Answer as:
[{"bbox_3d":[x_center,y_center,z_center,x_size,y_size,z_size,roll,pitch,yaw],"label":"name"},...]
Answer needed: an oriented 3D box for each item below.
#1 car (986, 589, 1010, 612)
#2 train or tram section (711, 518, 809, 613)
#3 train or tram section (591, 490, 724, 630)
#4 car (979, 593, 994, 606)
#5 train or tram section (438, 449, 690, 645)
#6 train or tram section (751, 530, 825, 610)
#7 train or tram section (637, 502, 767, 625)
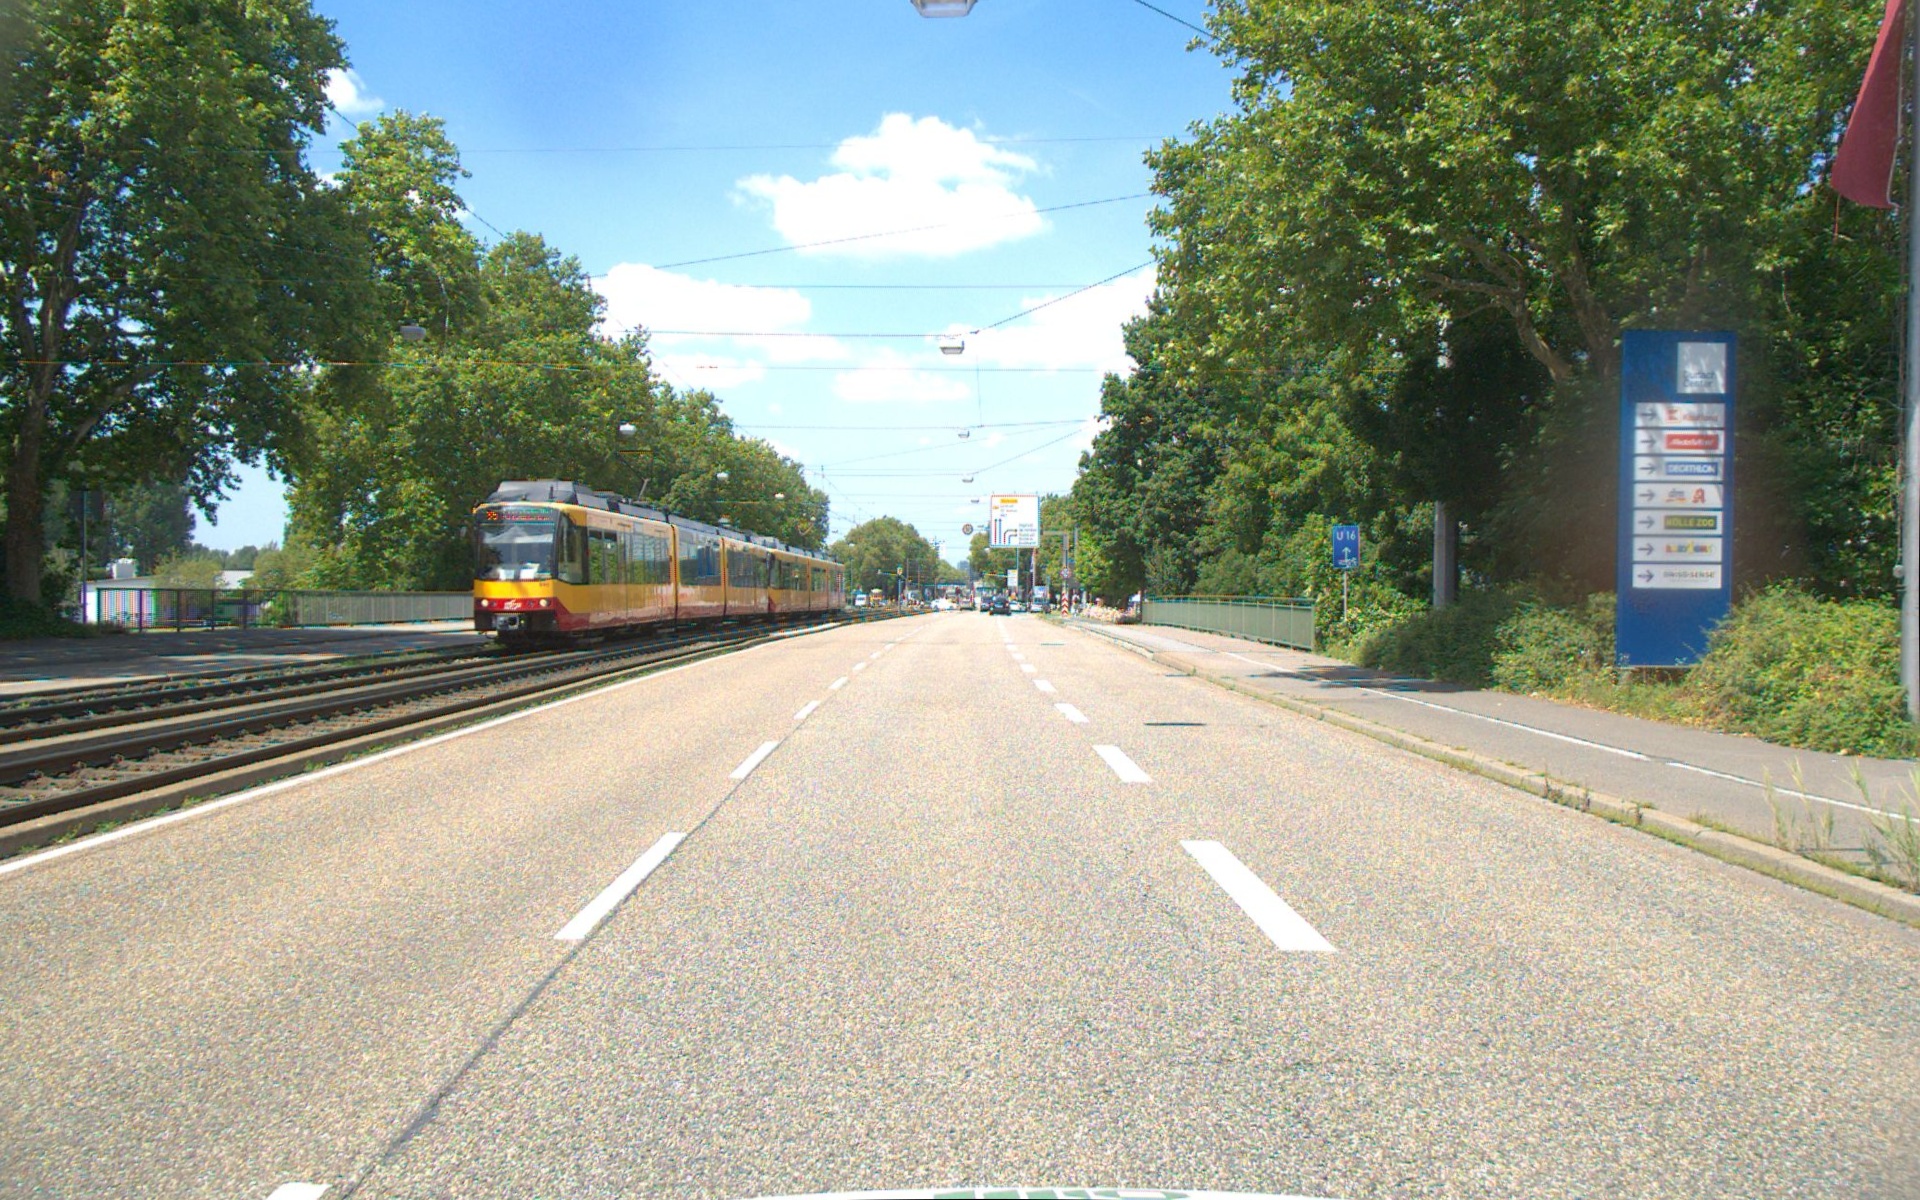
[{"bbox_3d":[3.259,0.061,142.494,1.861,1.837,3.976,2,0,0],"label":"car"},{"bbox_3d":[-9.618,-1.582,81.078,2.975,4.227,13.483,0,0,1],"label":"train or tram section"},{"bbox_3d":[-9.984,-1.278,55.453,2.986,4.342,8.002,0,0,0],"label":"train or tram section"},{"bbox_3d":[3.378,-0.050,210.626,1.838,1.566,3.776,2,0,0],"label":"car"},{"bbox_3d":[-10.023,-1.216,44.310,2.985,4.342,15.423,0,0,0],"label":"train or tram section"},{"bbox_3d":[-9.477,-1.618,92.281,2.975,4.221,10.233,0,0,0],"label":"train or tram section"},{"bbox_3d":[-9.998,-1.338,65.767,2.986,4.342,14.036,0,0,0],"label":"train or tram section"}]
